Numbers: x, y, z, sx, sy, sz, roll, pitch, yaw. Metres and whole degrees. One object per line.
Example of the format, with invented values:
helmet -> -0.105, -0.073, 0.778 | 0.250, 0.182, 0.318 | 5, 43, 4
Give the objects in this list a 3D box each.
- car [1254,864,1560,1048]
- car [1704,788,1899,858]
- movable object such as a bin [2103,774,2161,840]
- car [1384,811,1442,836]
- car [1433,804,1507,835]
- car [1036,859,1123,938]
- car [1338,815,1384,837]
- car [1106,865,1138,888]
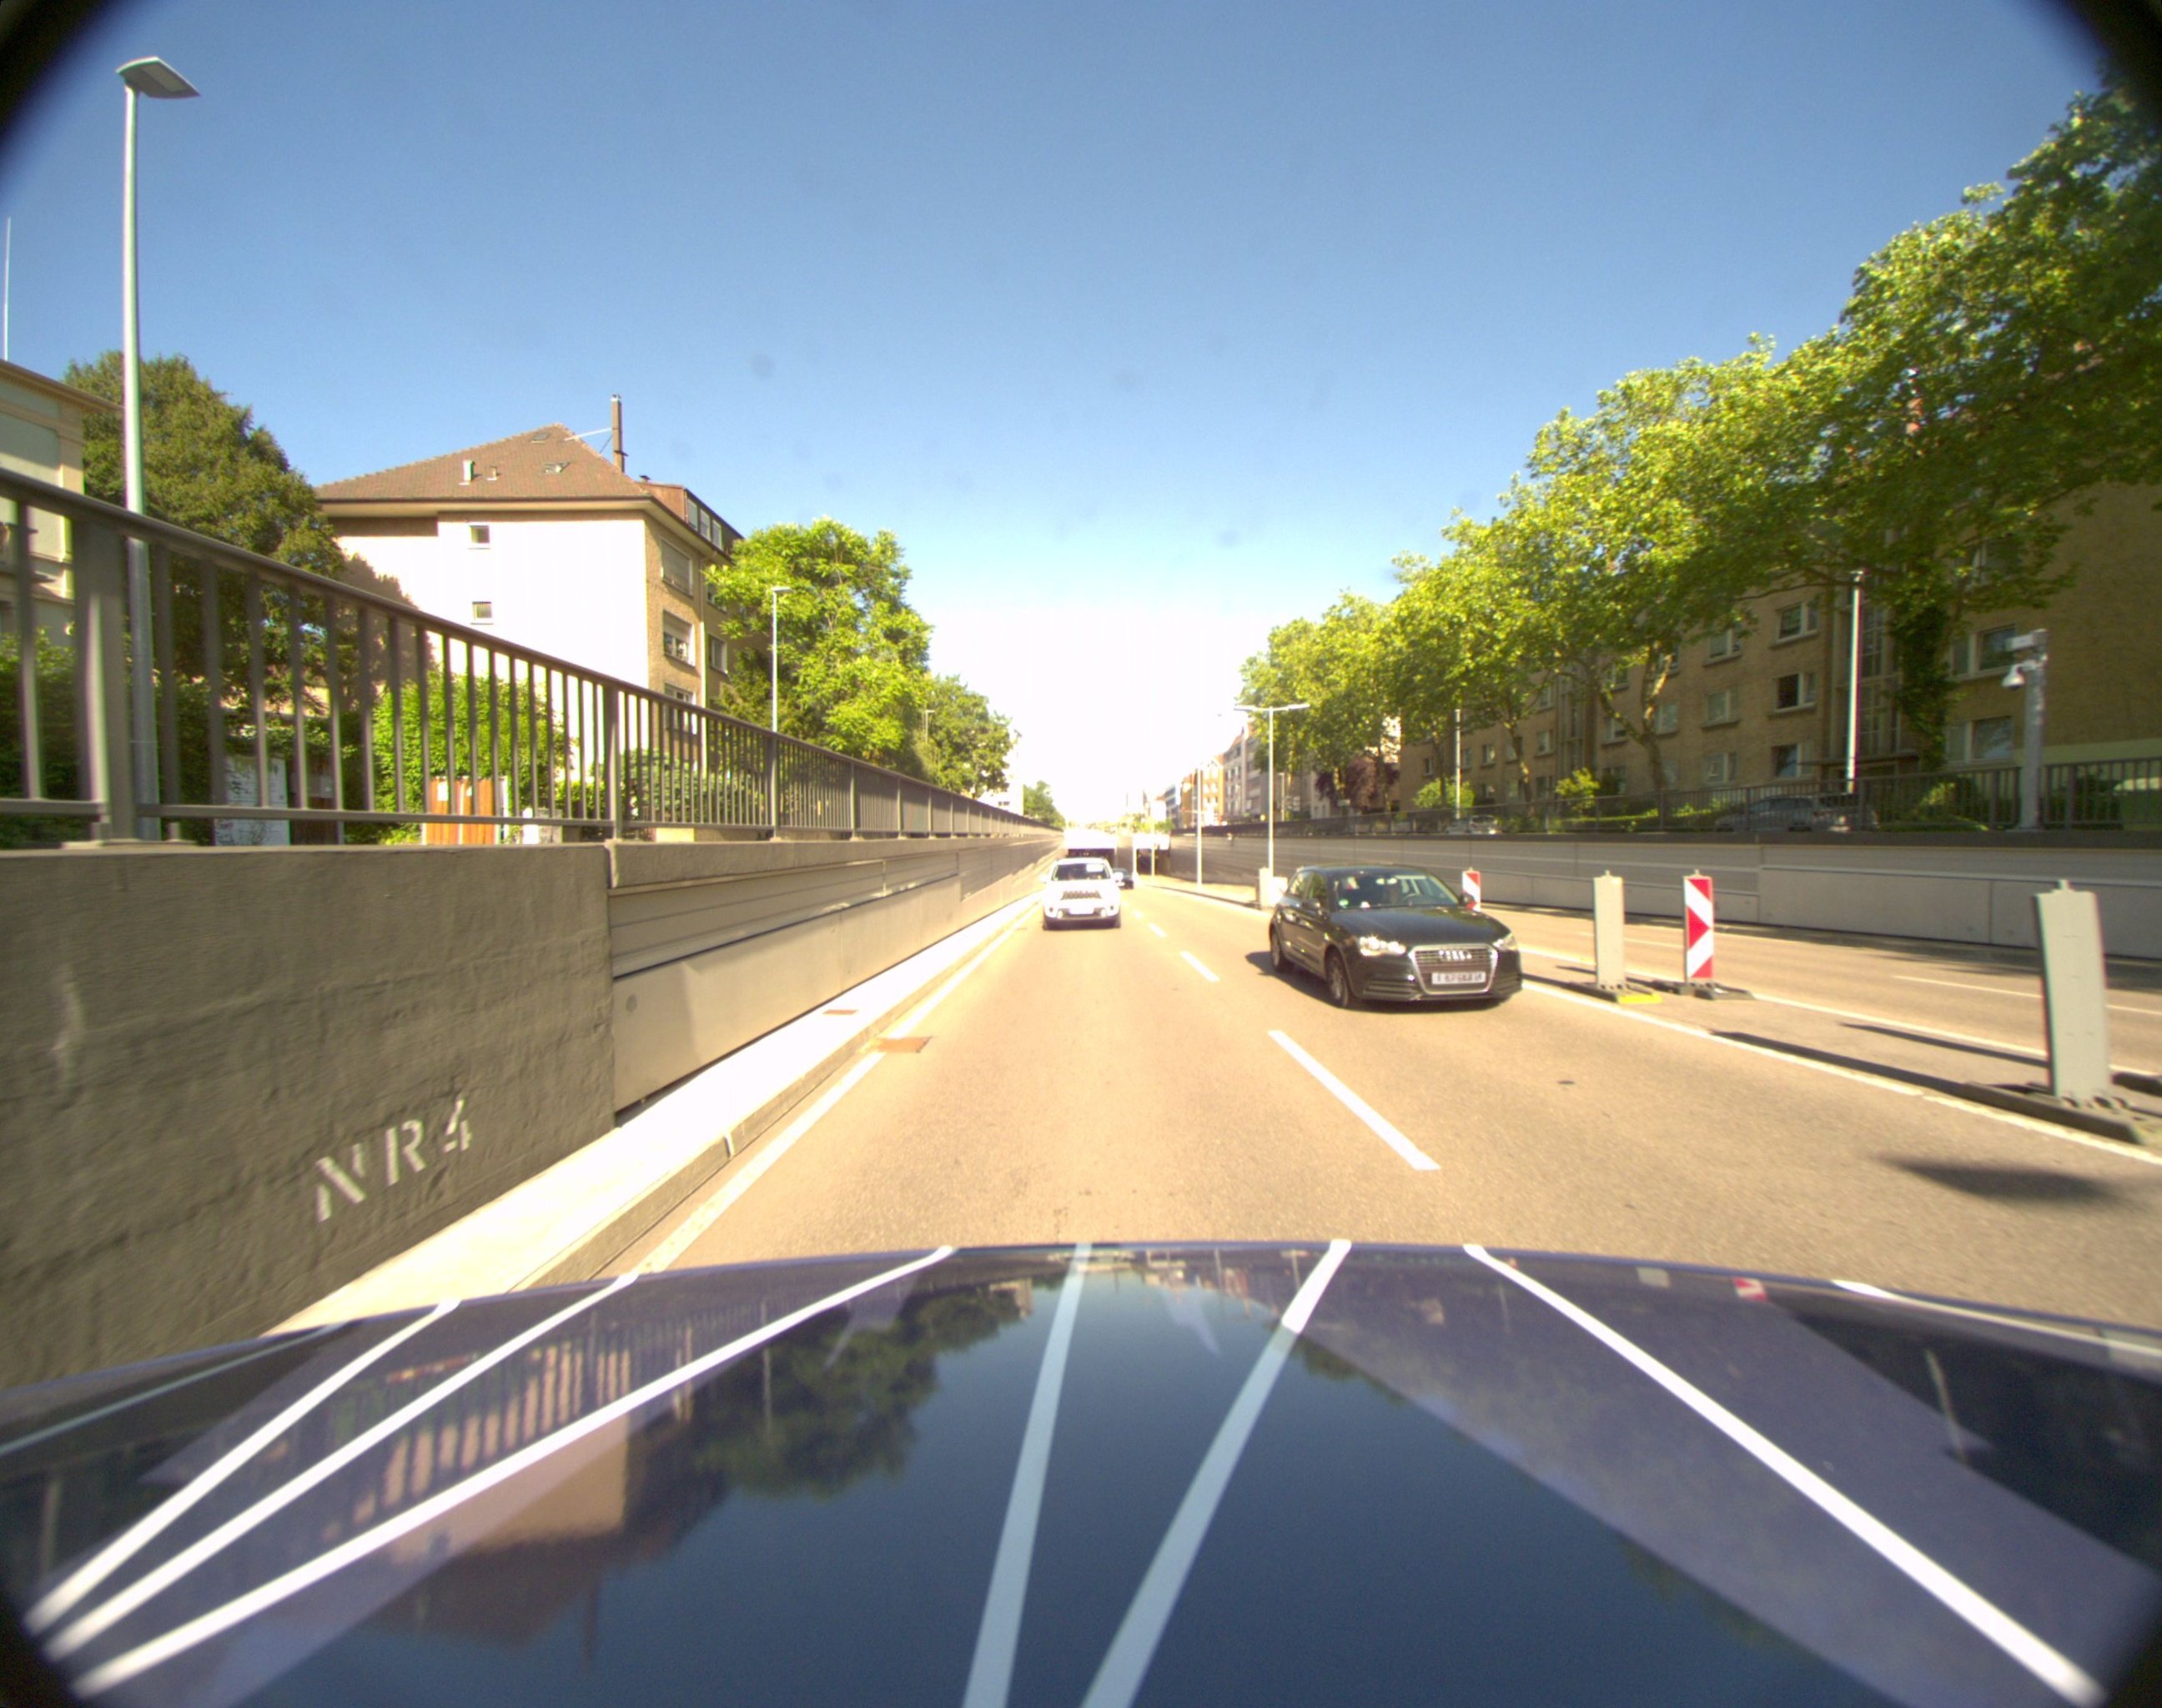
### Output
car -> 3.262, 0.905, 8.507 | 1.700, 1.410, 3.887 | -2, 1, 0
car -> 22.517, -0.928, 24.045 | 1.970, 1.949, 4.413 | -2, 1, 0
movable object such as a bin -> 24.828, -1.082, 17.360 | 1.209, 1.476, 1.357 | -2, 1, -8
car -> 22.609, -2.056, 51.932 | 1.926, 1.575, 4.302 | -2, 1, -2
car -> 22.307, -1.942, 43.795 | 1.926, 1.575, 4.302 | -2, 1, -2
car -> -0.019, 1.000, 18.772 | 1.855, 1.658, 3.970 | -2, 0, 0
car -> 22.515, -2.223, 61.293 | 1.926, 1.575, 4.302 | -2, 1, -2
car -> 2.766, 1.494, 52.201 | 1.998, 1.407, 4.000 | -2, 0, 0
